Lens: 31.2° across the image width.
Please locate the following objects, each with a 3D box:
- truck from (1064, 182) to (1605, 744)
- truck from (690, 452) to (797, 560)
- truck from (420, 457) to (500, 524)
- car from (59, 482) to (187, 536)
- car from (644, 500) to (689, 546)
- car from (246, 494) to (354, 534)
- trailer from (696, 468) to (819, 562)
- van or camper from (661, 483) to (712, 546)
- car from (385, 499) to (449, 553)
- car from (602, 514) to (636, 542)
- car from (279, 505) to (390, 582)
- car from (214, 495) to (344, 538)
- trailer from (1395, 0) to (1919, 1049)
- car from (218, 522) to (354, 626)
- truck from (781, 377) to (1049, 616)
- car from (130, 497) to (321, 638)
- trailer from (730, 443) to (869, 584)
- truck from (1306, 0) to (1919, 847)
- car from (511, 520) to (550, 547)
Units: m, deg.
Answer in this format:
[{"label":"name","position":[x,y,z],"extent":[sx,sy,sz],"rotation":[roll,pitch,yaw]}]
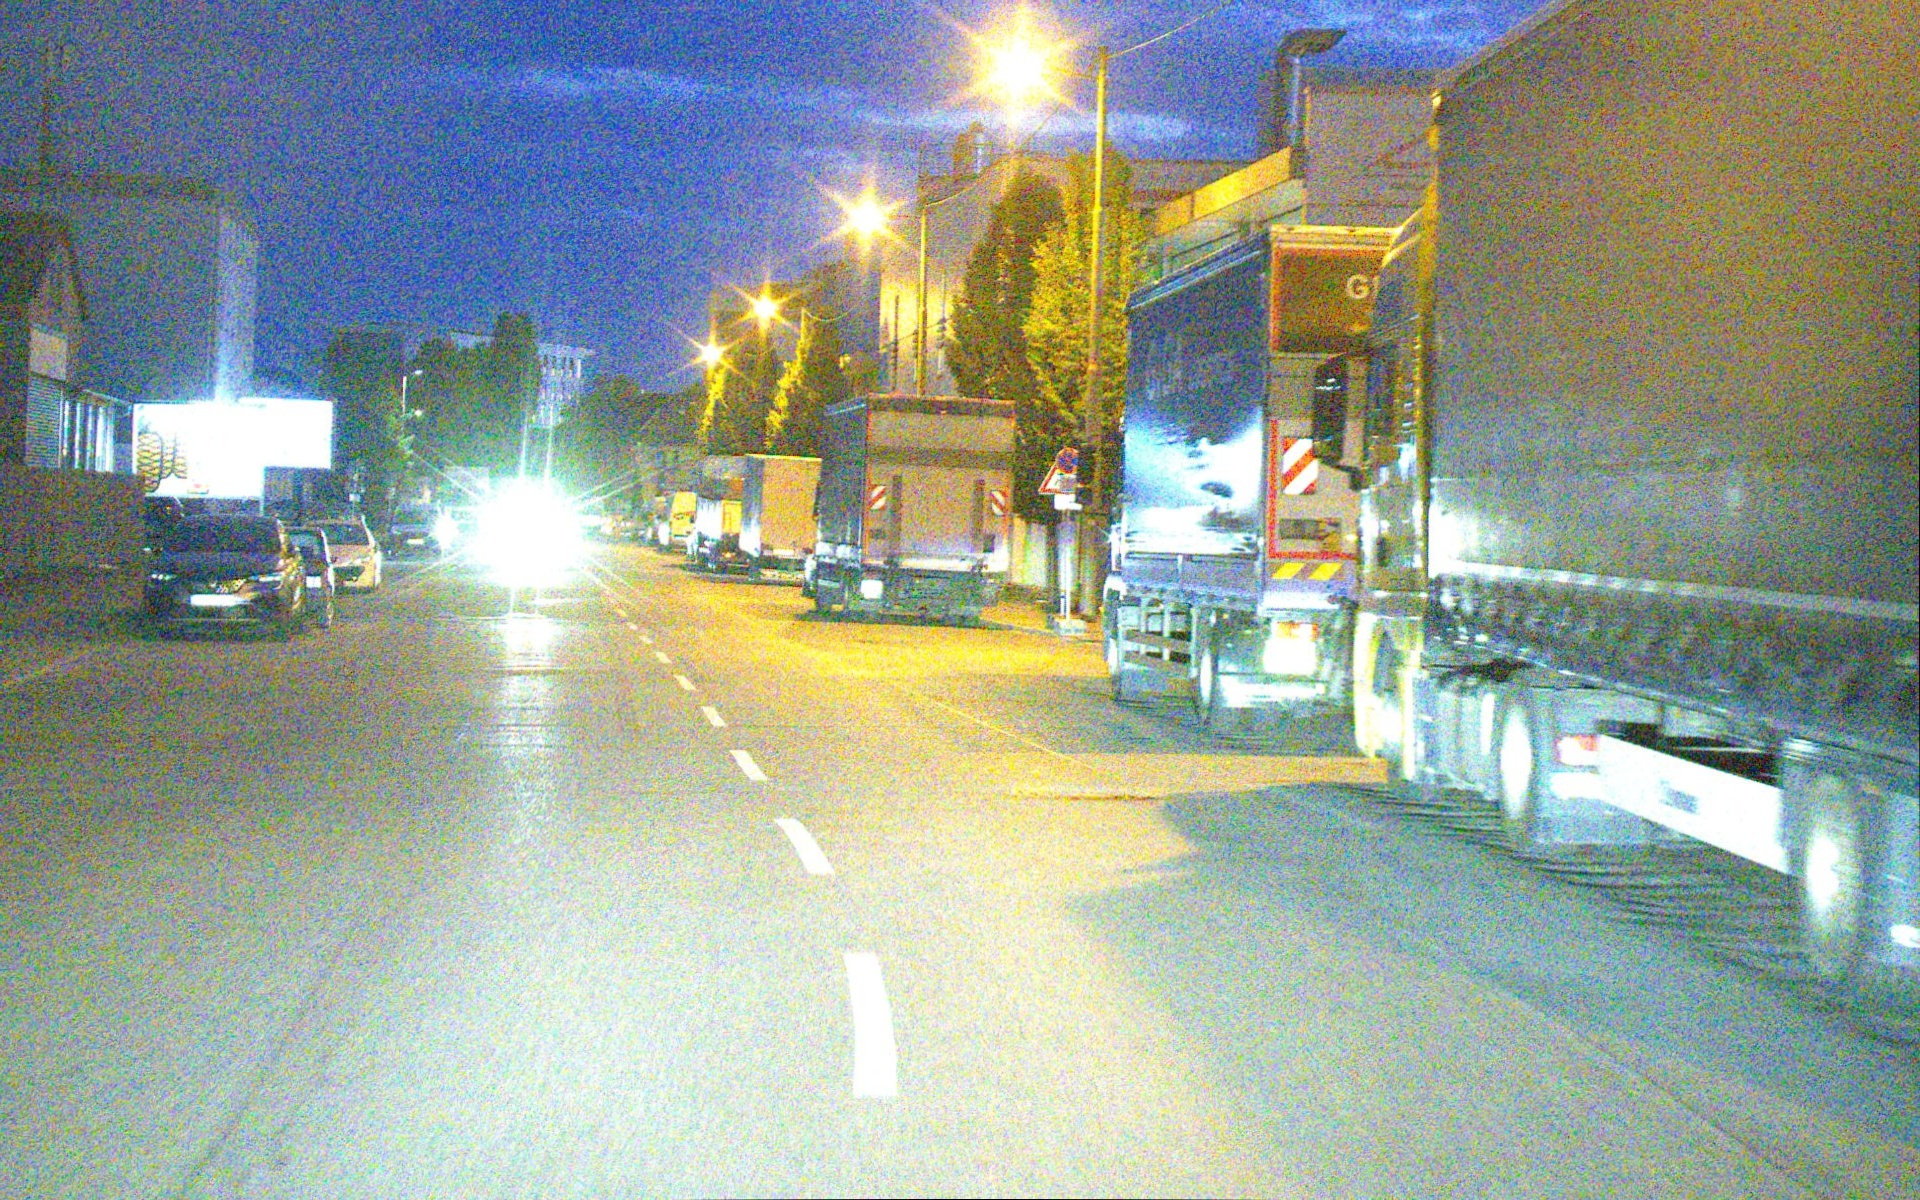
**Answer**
[{"label":"truck","position":[2.837,-1.056,29.712],"extent":[2.830,3.969,10.344],"rotation":[1,1,-4]},{"label":"truck","position":[-7.265,-3.100,114.579],"extent":[3.150,3.451,6.675],"rotation":[1,1,-7]},{"label":"truck","position":[-28.640,-6.251,196.559],"extent":[3.889,3.609,8.263],"rotation":[2,1,-12]},{"label":"car","position":[-28.175,-3.079,115.796],"extent":[3.986,1.645,2.001],"rotation":[2,1,-9]},{"label":"car","position":[-14.391,-3.795,168.438],"extent":[1.993,2.138,4.001],"rotation":[2,1,-7]},{"label":"car","position":[-27.655,-3.606,144.111],"extent":[3.987,1.589,2.000],"rotation":[0,1,-33]},{"label":"trailer","position":[-6.427,-2.613,107.492],"extent":[3.183,2.739,10.718],"rotation":[1,1,-7]},{"label":"van or camper","position":[-11.787,-3.672,147.995],"extent":[1.993,2.572,4.916],"rotation":[2,1,-6]},{"label":"car","position":[-18.910,-2.591,119.908],"extent":[1.993,1.787,4.001],"rotation":[2,1,-7]},{"label":"car","position":[-21.677,-4.552,218.312],"extent":[1.993,1.678,4.001],"rotation":[2,1,-7]},{"label":"car","position":[-12.339,-1.132,68.005],"extent":[1.841,1.415,4.001],"rotation":[2,1,-7]},{"label":"car","position":[-26.912,-3.304,135.849],"extent":[4.613,1.480,2.000],"rotation":[2,1,-29]},{"label":"trailer","position":[4.117,-0.711,12.474],"extent":[2.808,3.969,13.976],"rotation":[1,1,-2]},{"label":"car","position":[-9.633,-0.398,49.335],"extent":[1.601,1.349,4.001],"rotation":[2,1,-7]},{"label":"truck","position":[-1.013,-1.821,62.933],"extent":[3.520,3.969,10.345],"rotation":[1,1,-8]},{"label":"car","position":[-9.357,-0.433,44.120],"extent":[1.993,1.631,4.775],"rotation":[2,1,-8]},{"label":"trailer","position":[-4.328,-2.268,91.197],"extent":[2.686,3.452,7.811],"rotation":[2,1,-9]},{"label":"truck","position":[3.876,-0.868,19.262],"extent":[2.830,3.969,6.051],"rotation":[1,1,-4]},{"label":"car","position":[-23.444,-3.632,187.703],"extent":[1.993,1.393,4.001],"rotation":[2,1,-7]}]
